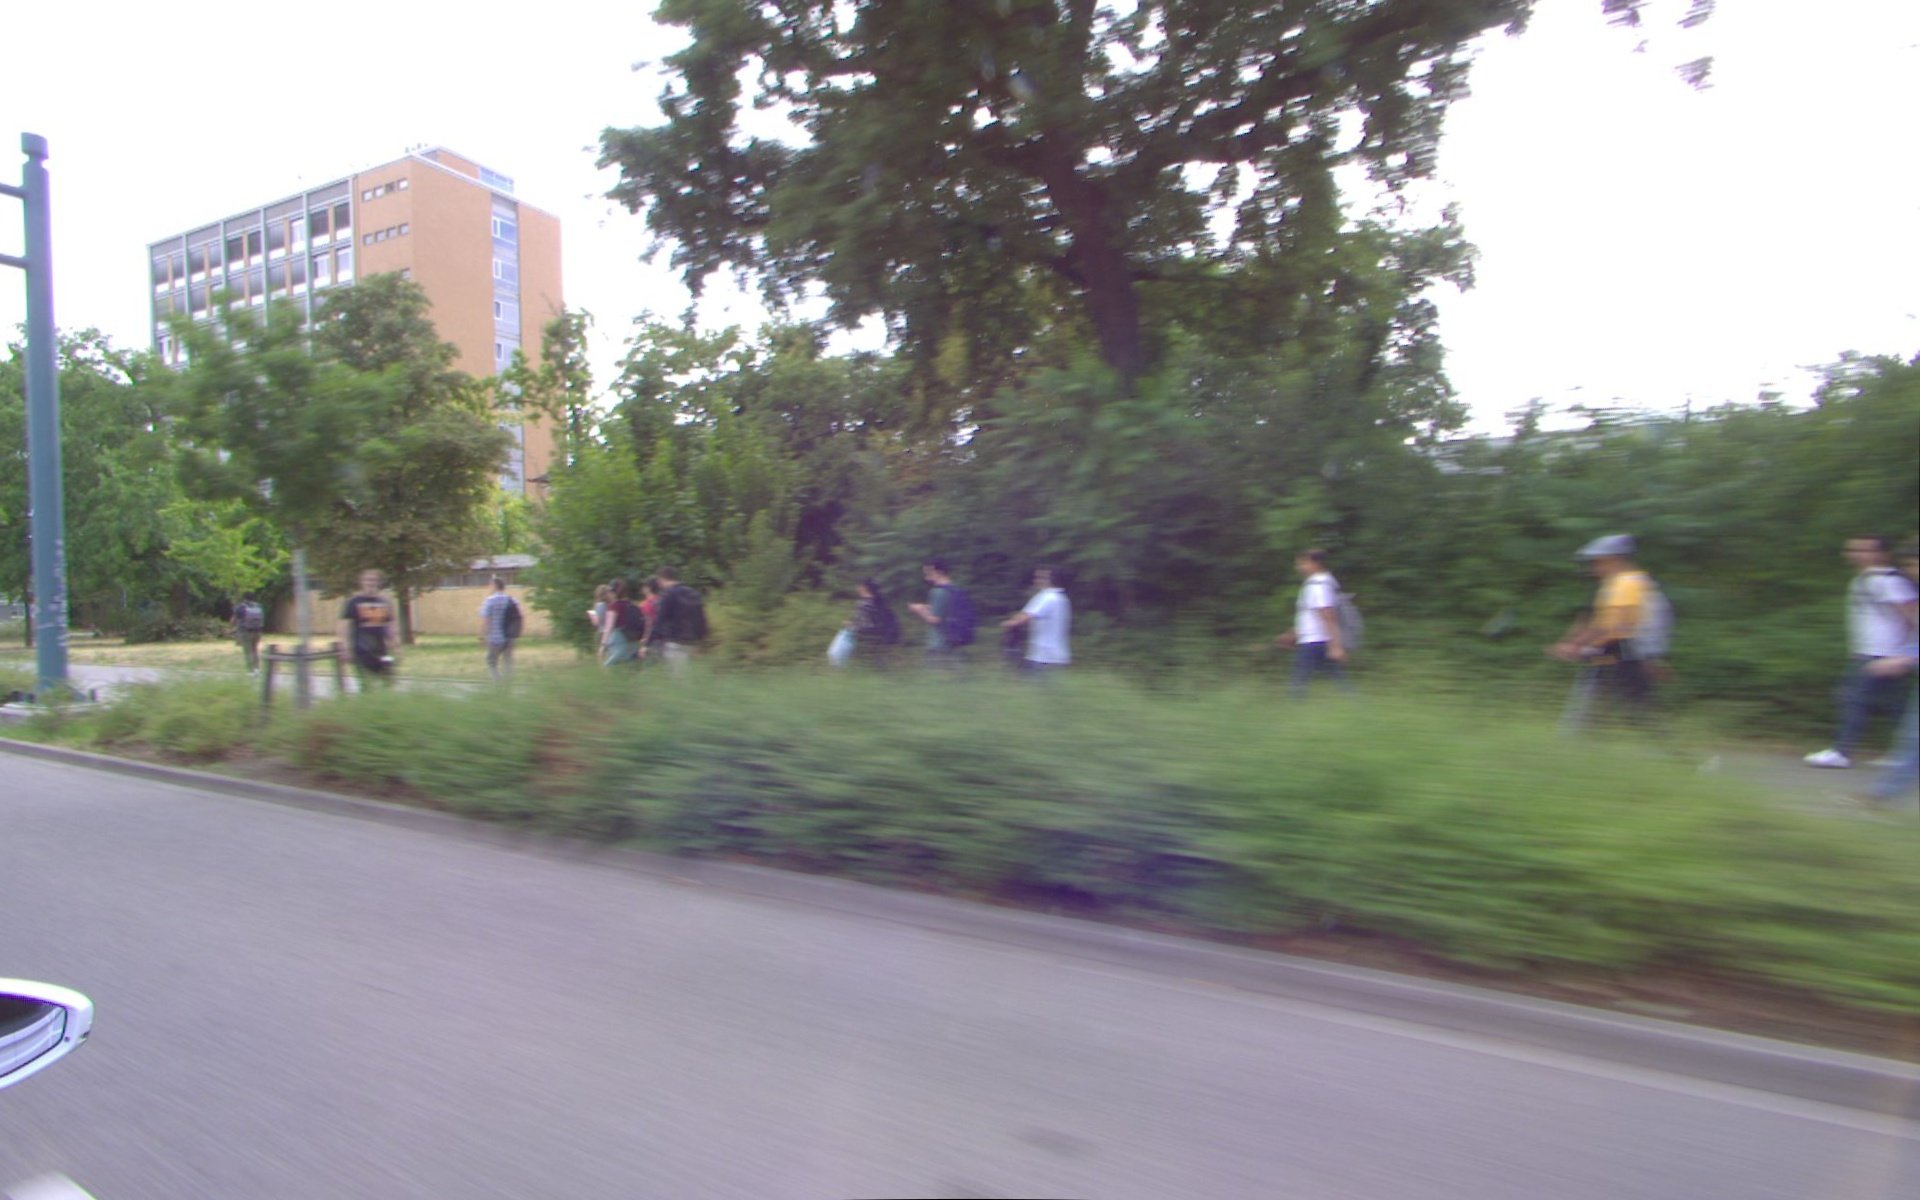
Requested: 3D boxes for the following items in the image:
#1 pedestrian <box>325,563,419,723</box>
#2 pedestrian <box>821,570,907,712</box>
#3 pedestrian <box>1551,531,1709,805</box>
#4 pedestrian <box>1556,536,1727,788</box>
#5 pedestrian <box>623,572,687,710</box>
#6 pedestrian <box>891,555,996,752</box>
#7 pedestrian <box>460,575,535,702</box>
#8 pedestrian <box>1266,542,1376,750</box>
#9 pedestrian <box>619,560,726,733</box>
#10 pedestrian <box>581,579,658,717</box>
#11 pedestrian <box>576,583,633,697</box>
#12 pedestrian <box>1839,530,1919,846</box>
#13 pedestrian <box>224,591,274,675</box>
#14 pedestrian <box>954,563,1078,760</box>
[{"bbox_3d":[-7.176,0.494,12.236,0.924,1.855,0.882,-1,1,-31],"label":"pedestrian"},{"bbox_3d":[-1.128,0.462,11.764,0.774,1.605,0.634,0,1,32],"label":"pedestrian"},{"bbox_3d":[4.468,0.424,6.736,0.829,1.712,0.655,0,1,30],"label":"pedestrian"},{"bbox_3d":[4.871,0.420,7.225,0.957,1.689,0.655,0,1,30],"label":"pedestrian"},{"bbox_3d":[-4.045,0.533,13.294,0.654,1.787,0.483,0,1,32],"label":"pedestrian"},{"bbox_3d":[-0.160,0.500,9.851,0.800,1.846,0.654,0,1,32],"label":"pedestrian"},{"bbox_3d":[-6.617,0.539,14.329,0.803,1.759,0.617,0,1,32],"label":"pedestrian"},{"bbox_3d":[3.263,0.389,9.026,0.800,1.768,0.719,0,1,32],"label":"pedestrian"},{"bbox_3d":[-3.215,0.499,11.204,0.940,1.846,0.691,0,1,32],"label":"pedestrian"},{"bbox_3d":[-4.271,0.585,12.566,0.743,1.677,0.554,0,1,32],"label":"pedestrian"},{"bbox_3d":[-5.257,0.579,14.805,0.643,1.655,0.467,0,1,32],"label":"pedestrian"},{"bbox_3d":[5.415,0.465,5.460,0.800,1.670,0.655,0,1,30],"label":"pedestrian"},{"bbox_3d":[-14.812,0.670,20.875,0.737,1.705,0.586,0,1,32],"label":"pedestrian"},{"bbox_3d":[0.500,0.507,8.795,0.800,1.624,0.774,0,1,32],"label":"pedestrian"}]
